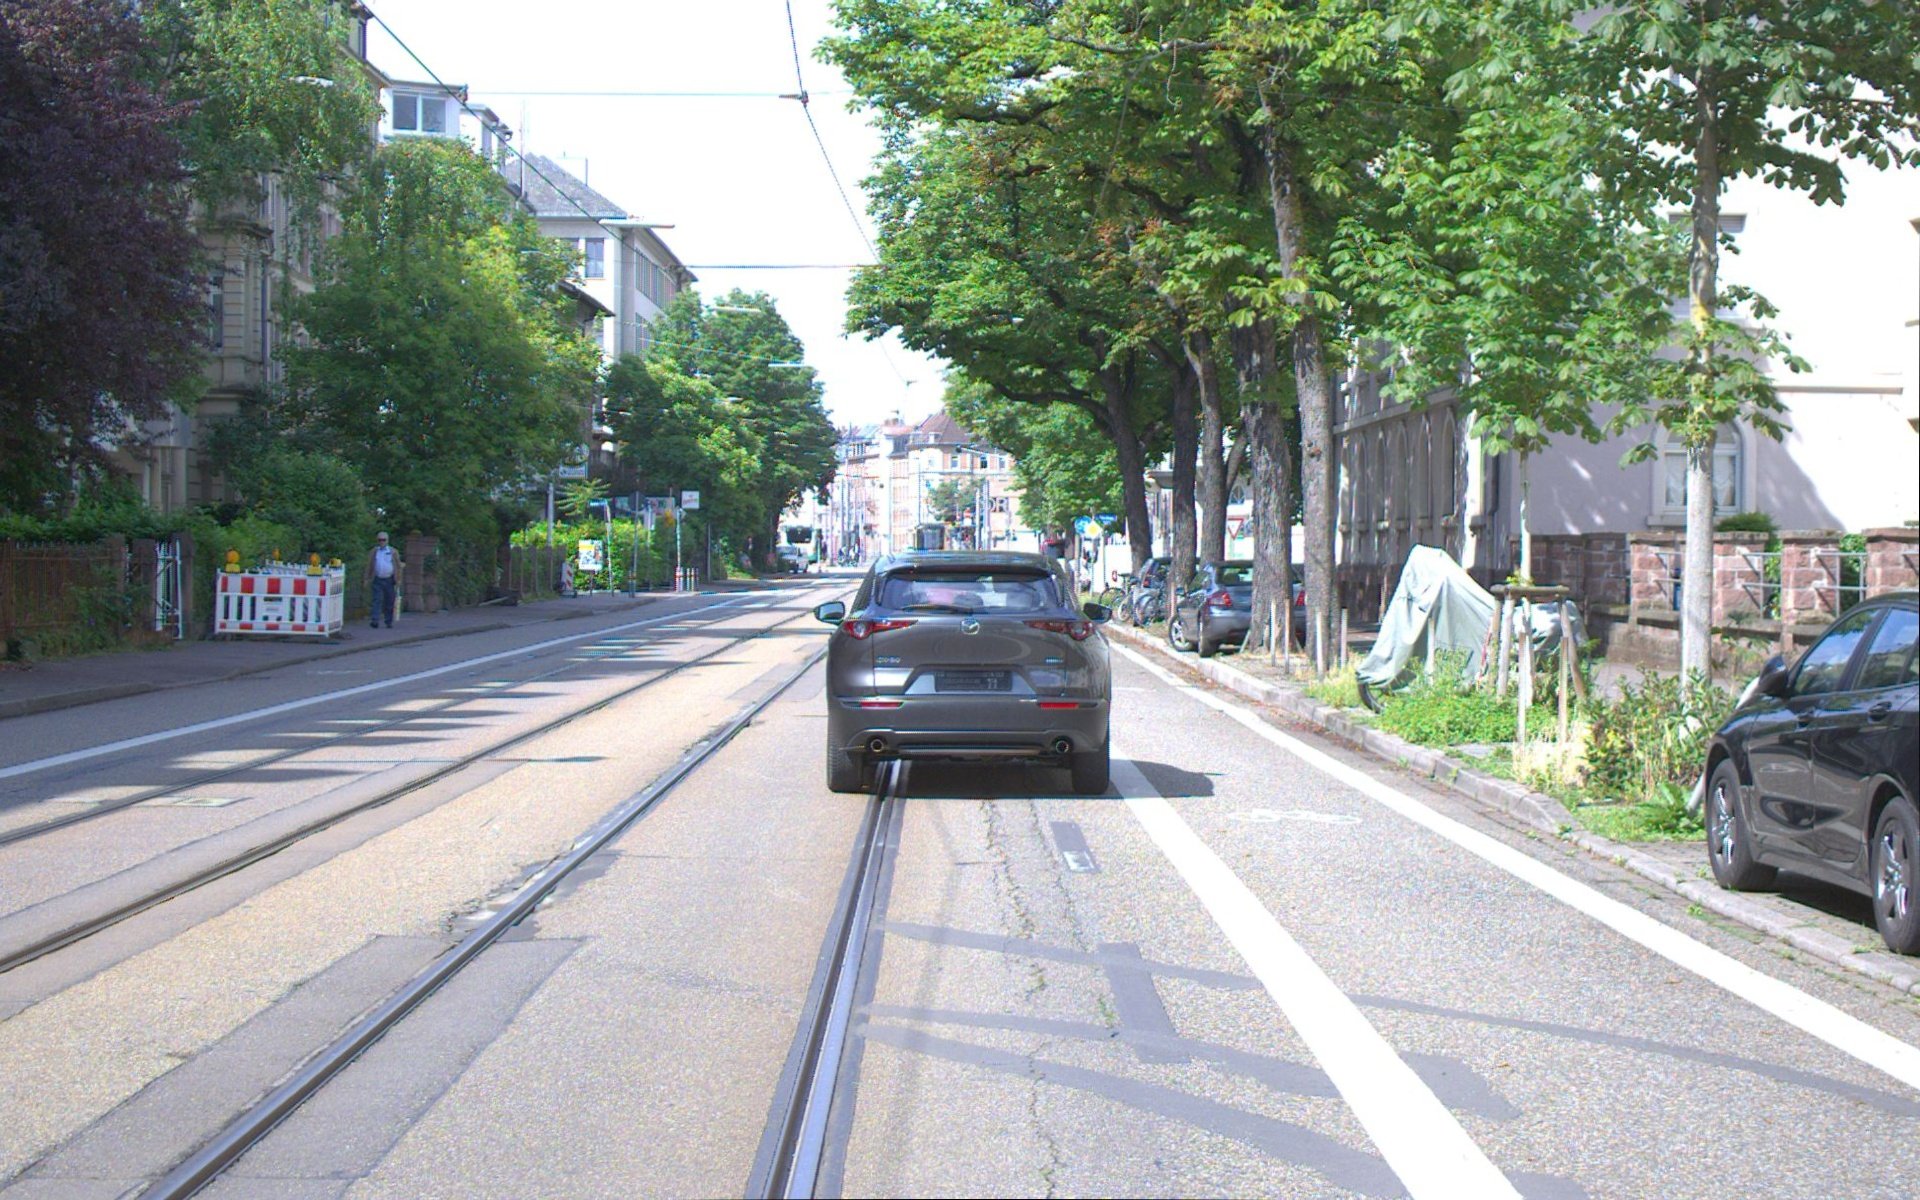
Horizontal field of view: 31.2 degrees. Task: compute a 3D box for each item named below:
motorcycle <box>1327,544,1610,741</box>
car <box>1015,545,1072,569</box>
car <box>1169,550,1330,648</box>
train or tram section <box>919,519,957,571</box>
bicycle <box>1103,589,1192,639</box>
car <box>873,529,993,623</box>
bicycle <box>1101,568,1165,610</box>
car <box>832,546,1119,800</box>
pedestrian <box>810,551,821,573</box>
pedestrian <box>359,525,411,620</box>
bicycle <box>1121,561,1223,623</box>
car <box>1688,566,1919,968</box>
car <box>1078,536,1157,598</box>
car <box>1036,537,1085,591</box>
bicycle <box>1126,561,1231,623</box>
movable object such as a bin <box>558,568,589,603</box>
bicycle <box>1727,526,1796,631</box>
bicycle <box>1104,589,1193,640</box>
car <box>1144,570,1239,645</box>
[{"bbox_3d":[4.448,0.347,30.207,2.385,1.592,0.677,3,2,39],"label":"motorcycle"},{"bbox_3d":[6.171,-3.162,253.887,3.805,1.612,1.638,3,1,-18],"label":"car"},{"bbox_3d":[4.391,-0.045,52.747,1.846,1.404,4.395,-1,1,-3],"label":"car"},{"bbox_3d":[-1.607,-4.090,256.649,2.571,3.760,13.026,1,1,1],"label":"train or tram section"},{"bbox_3d":[4.110,0.315,75.385,1.903,1.068,0.402,1,1,0],"label":"bicycle"},{"bbox_3d":[-0.482,-0.431,61.147,1.993,1.523,4.000,3,1,-1],"label":"car"},{"bbox_3d":[4.015,-0.259,79.946,1.491,0.980,0.259,0,0,2],"label":"bicycle"},{"bbox_3d":[0.078,0.414,22.593,1.720,1.521,3.590,1,1,-1],"label":"car"},{"bbox_3d":[-10.182,-2.684,242.636,0.751,1.505,0.824,1,1,-4],"label":"pedestrian"},{"bbox_3d":[-10.489,-0.505,62.709,0.822,1.700,0.891,0,1,-3],"label":"pedestrian"},{"bbox_3d":[4.080,-0.149,66.100,1.895,1.172,0.513,0,0,12],"label":"bicycle"},{"bbox_3d":[4.416,0.642,14.484,1.706,1.474,4.197,3,1,0],"label":"car"},{"bbox_3d":[5.102,-1.096,112.087,1.786,1.932,4.992,0,1,-6],"label":"car"},{"bbox_3d":[3.739,-1.348,128.778,1.720,1.962,4.207,1,1,0],"label":"car"},{"bbox_3d":[4.168,-0.149,65.556,1.938,1.172,0.513,0,0,12],"label":"bicycle"},{"bbox_3d":[-11.318,-0.438,100.668,0.745,0.984,1.114,3,1,0],"label":"movable object such as a bin"},{"bbox_3d":[9.475,-0.261,40.678,0.412,1.207,1.704,0,1,0],"label":"bicycle"},{"bbox_3d":[4.100,0.317,74.896,1.903,1.068,0.402,1,1,0],"label":"bicycle"},{"bbox_3d":[4.709,0.136,70.329,1.666,1.425,3.766,-1,1,0],"label":"car"}]
